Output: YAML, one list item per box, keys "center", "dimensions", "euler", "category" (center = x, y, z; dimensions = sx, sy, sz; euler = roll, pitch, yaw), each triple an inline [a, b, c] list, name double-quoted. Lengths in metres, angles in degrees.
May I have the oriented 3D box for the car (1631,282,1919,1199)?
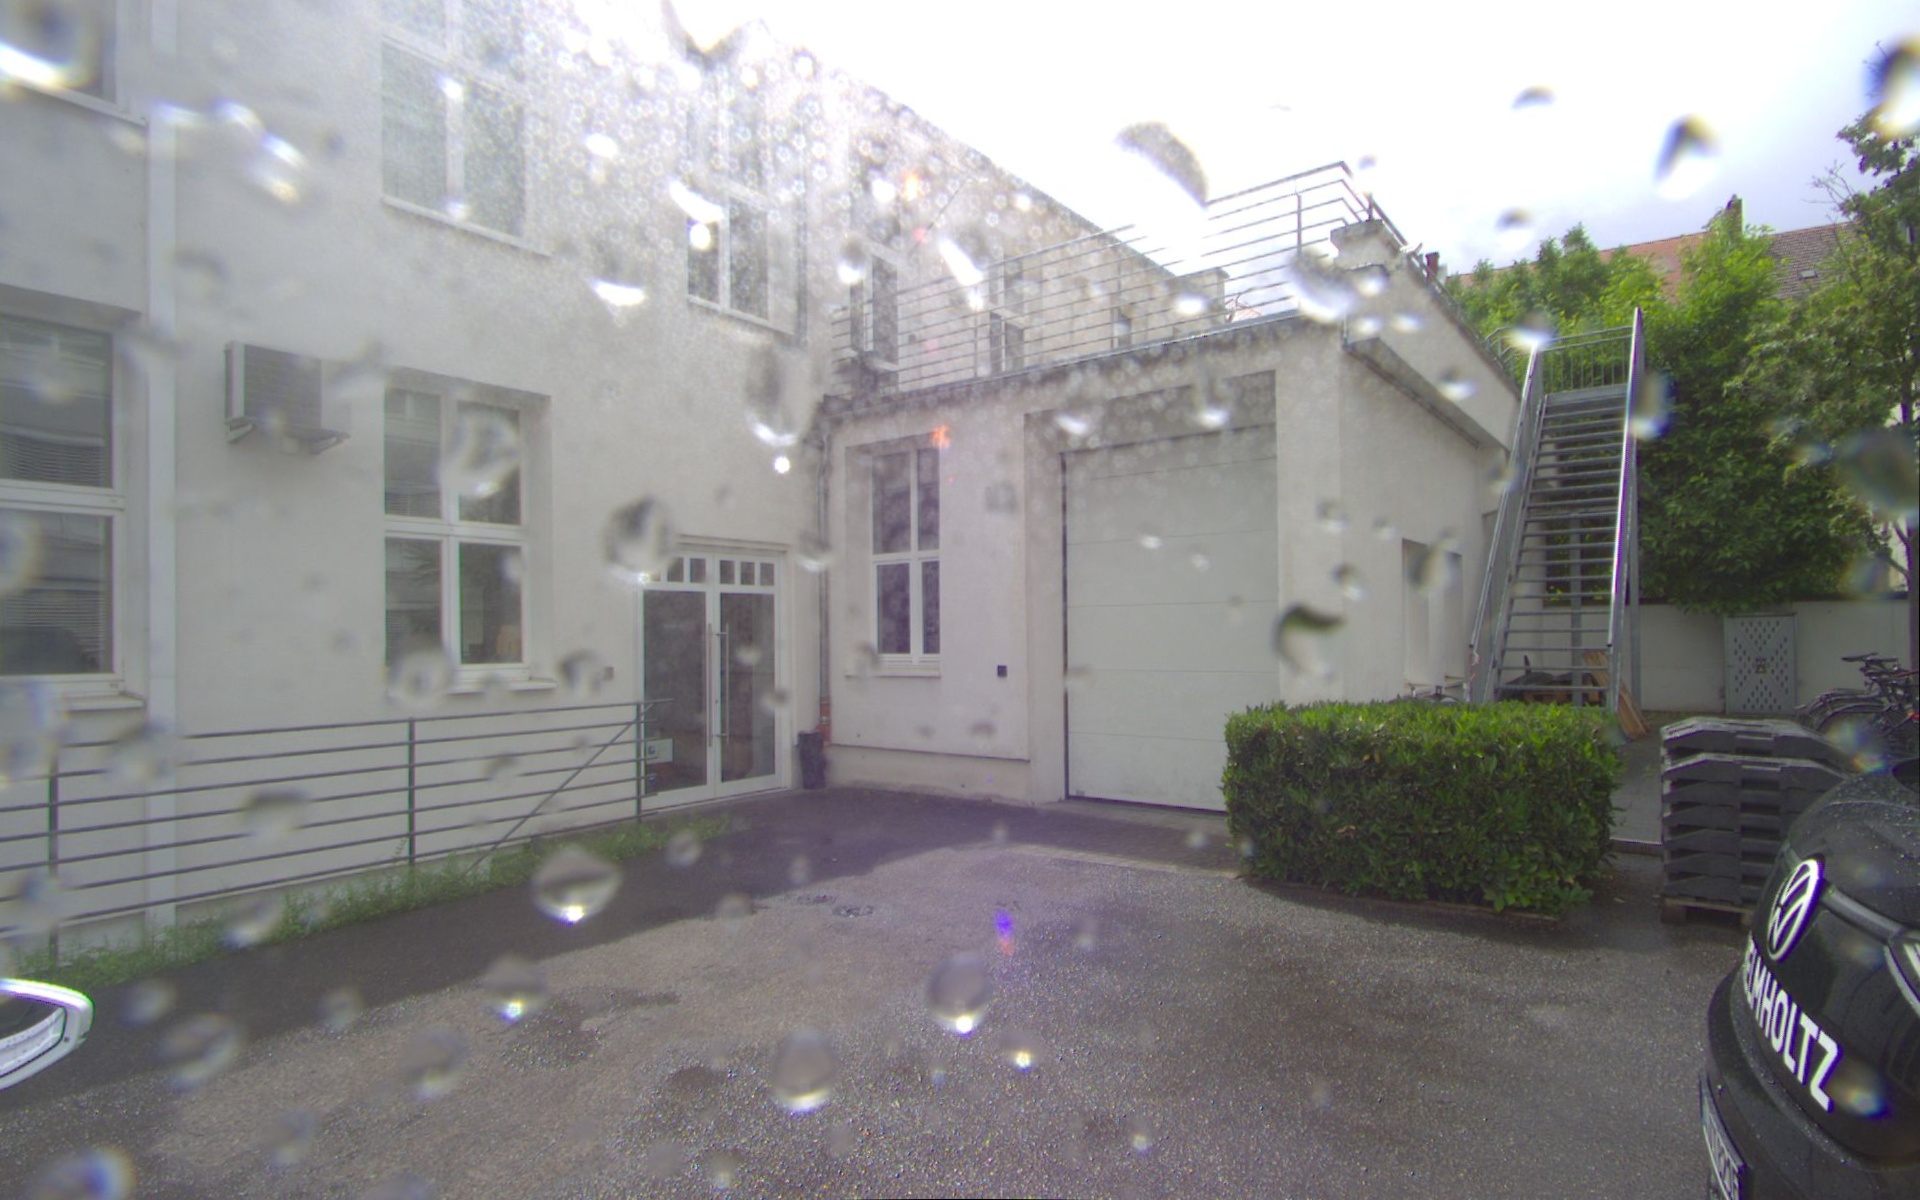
- center: [3.434, 0.544, 0.754]
  dimensions: [4.679, 1.888, 1.962]
  euler: [-3, -3, 31]
  category: "car"

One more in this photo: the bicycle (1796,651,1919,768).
- center: [9.361, 1.064, 9.829]
  dimensions: [1.730, 1.118, 0.344]
  euler: [-1, -1, 32]
  category: "bicycle"

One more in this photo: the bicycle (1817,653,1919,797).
- center: [7.902, 0.988, 7.851]
  dimensions: [1.775, 1.118, 0.402]
  euler: [-1, -1, 40]
  category: "bicycle"

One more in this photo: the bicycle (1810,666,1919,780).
- center: [8.706, 1.096, 8.854]
  dimensions: [1.770, 0.980, 0.328]
  euler: [-1, -1, 32]
  category: "bicycle"

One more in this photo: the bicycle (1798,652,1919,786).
- center: [8.318, 1.015, 8.542]
  dimensions: [1.775, 1.118, 0.352]
  euler: [-1, -1, 40]
  category: "bicycle"

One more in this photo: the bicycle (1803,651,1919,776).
- center: [8.870, 1.039, 9.155]
  dimensions: [1.730, 1.118, 0.331]
  euler: [-1, -1, 32]
  category: "bicycle"

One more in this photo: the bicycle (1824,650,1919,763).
- center: [9.893, 1.074, 10.102]
  dimensions: [1.730, 1.118, 0.353]
  euler: [-1, -1, 32]
  category: "bicycle"

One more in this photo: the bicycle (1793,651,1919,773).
- center: [9.038, 1.052, 9.468]
  dimensions: [1.730, 1.118, 0.341]
  euler: [-1, -1, 32]
  category: "bicycle"

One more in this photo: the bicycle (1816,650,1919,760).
- center: [10.067, 1.086, 10.408]
  dimensions: [1.730, 1.118, 0.340]
  euler: [-1, -1, 32]
  category: "bicycle"
